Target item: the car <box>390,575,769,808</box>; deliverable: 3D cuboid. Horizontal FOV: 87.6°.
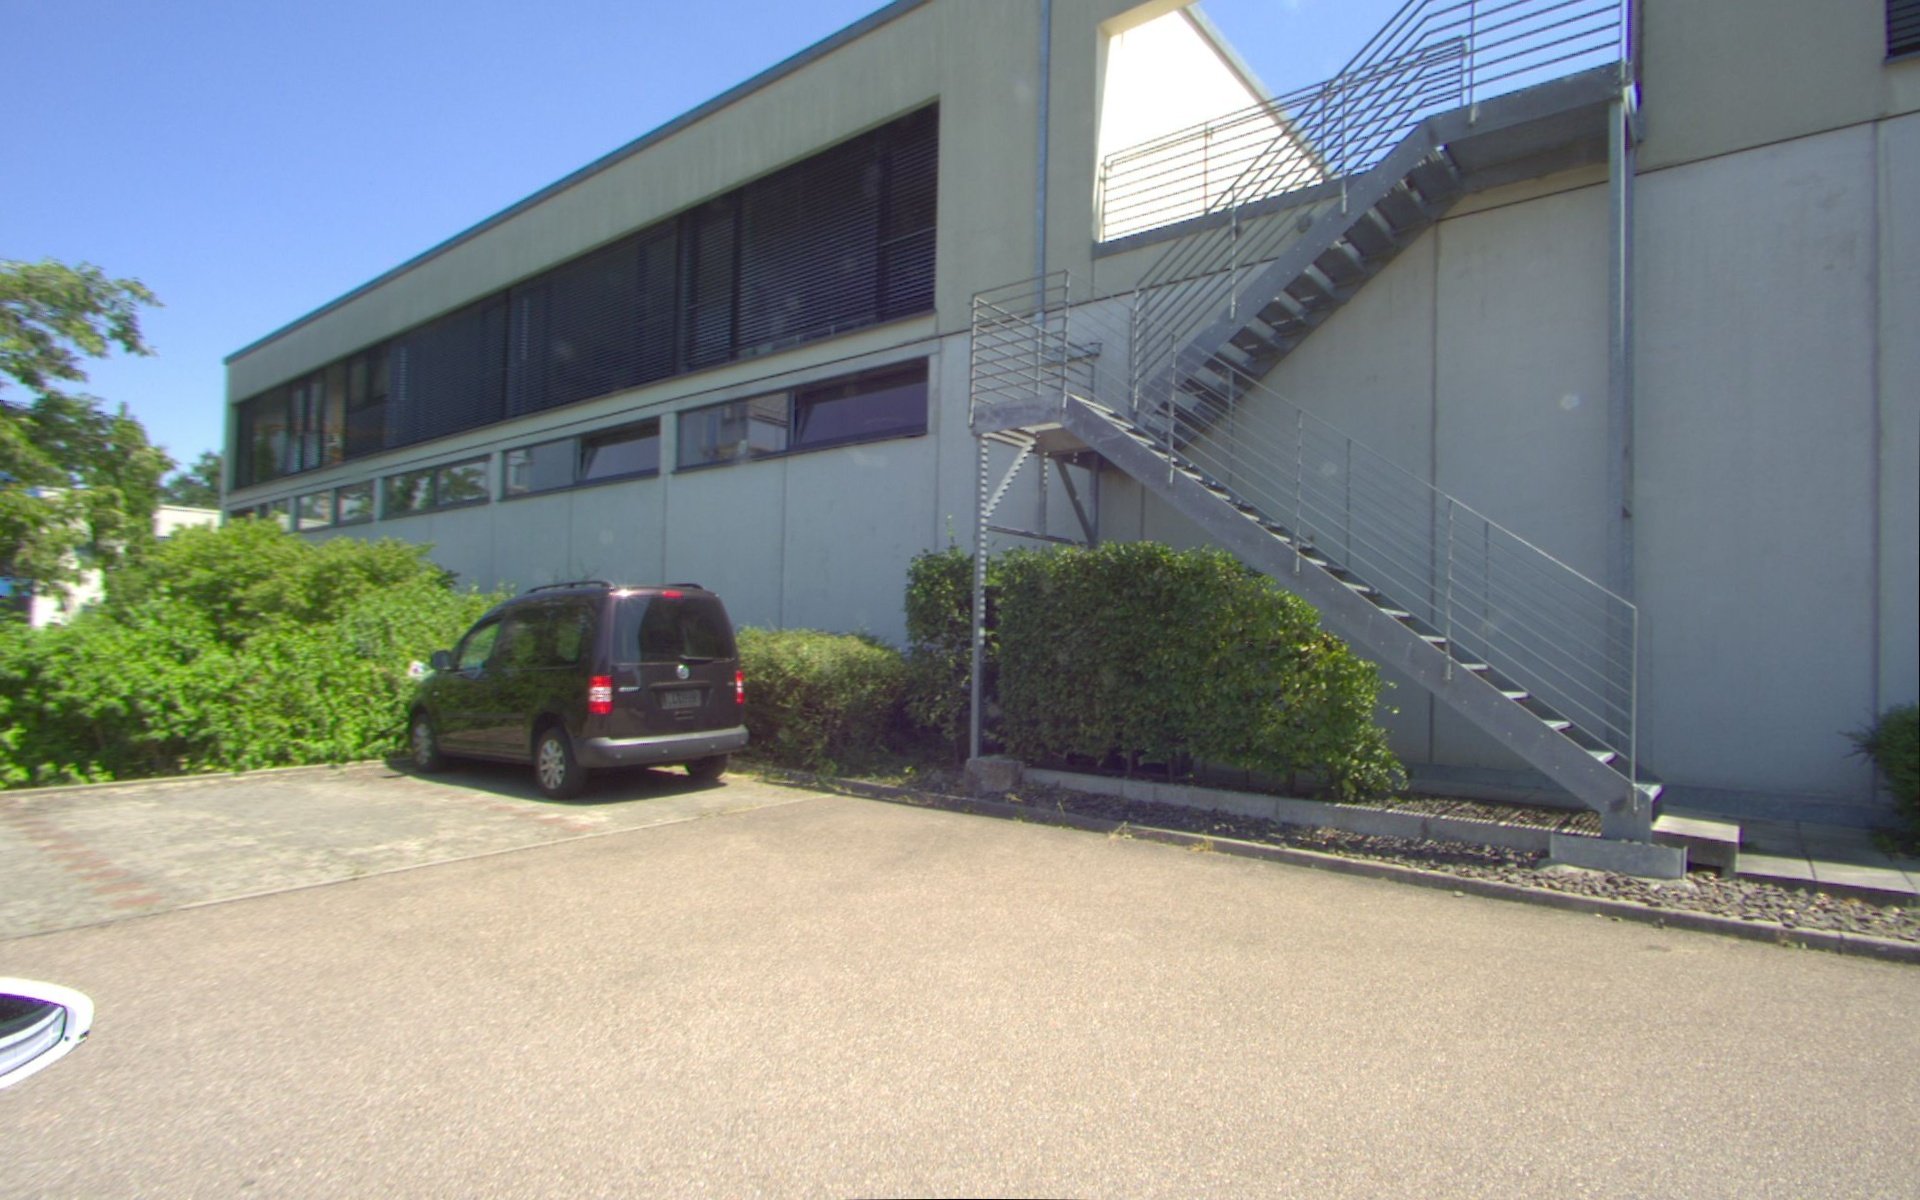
[{"bbox_3d":[-3.873,0.785,9.915,3.951,1.860,1.737,-1,-2,39],"label":"car"}]
